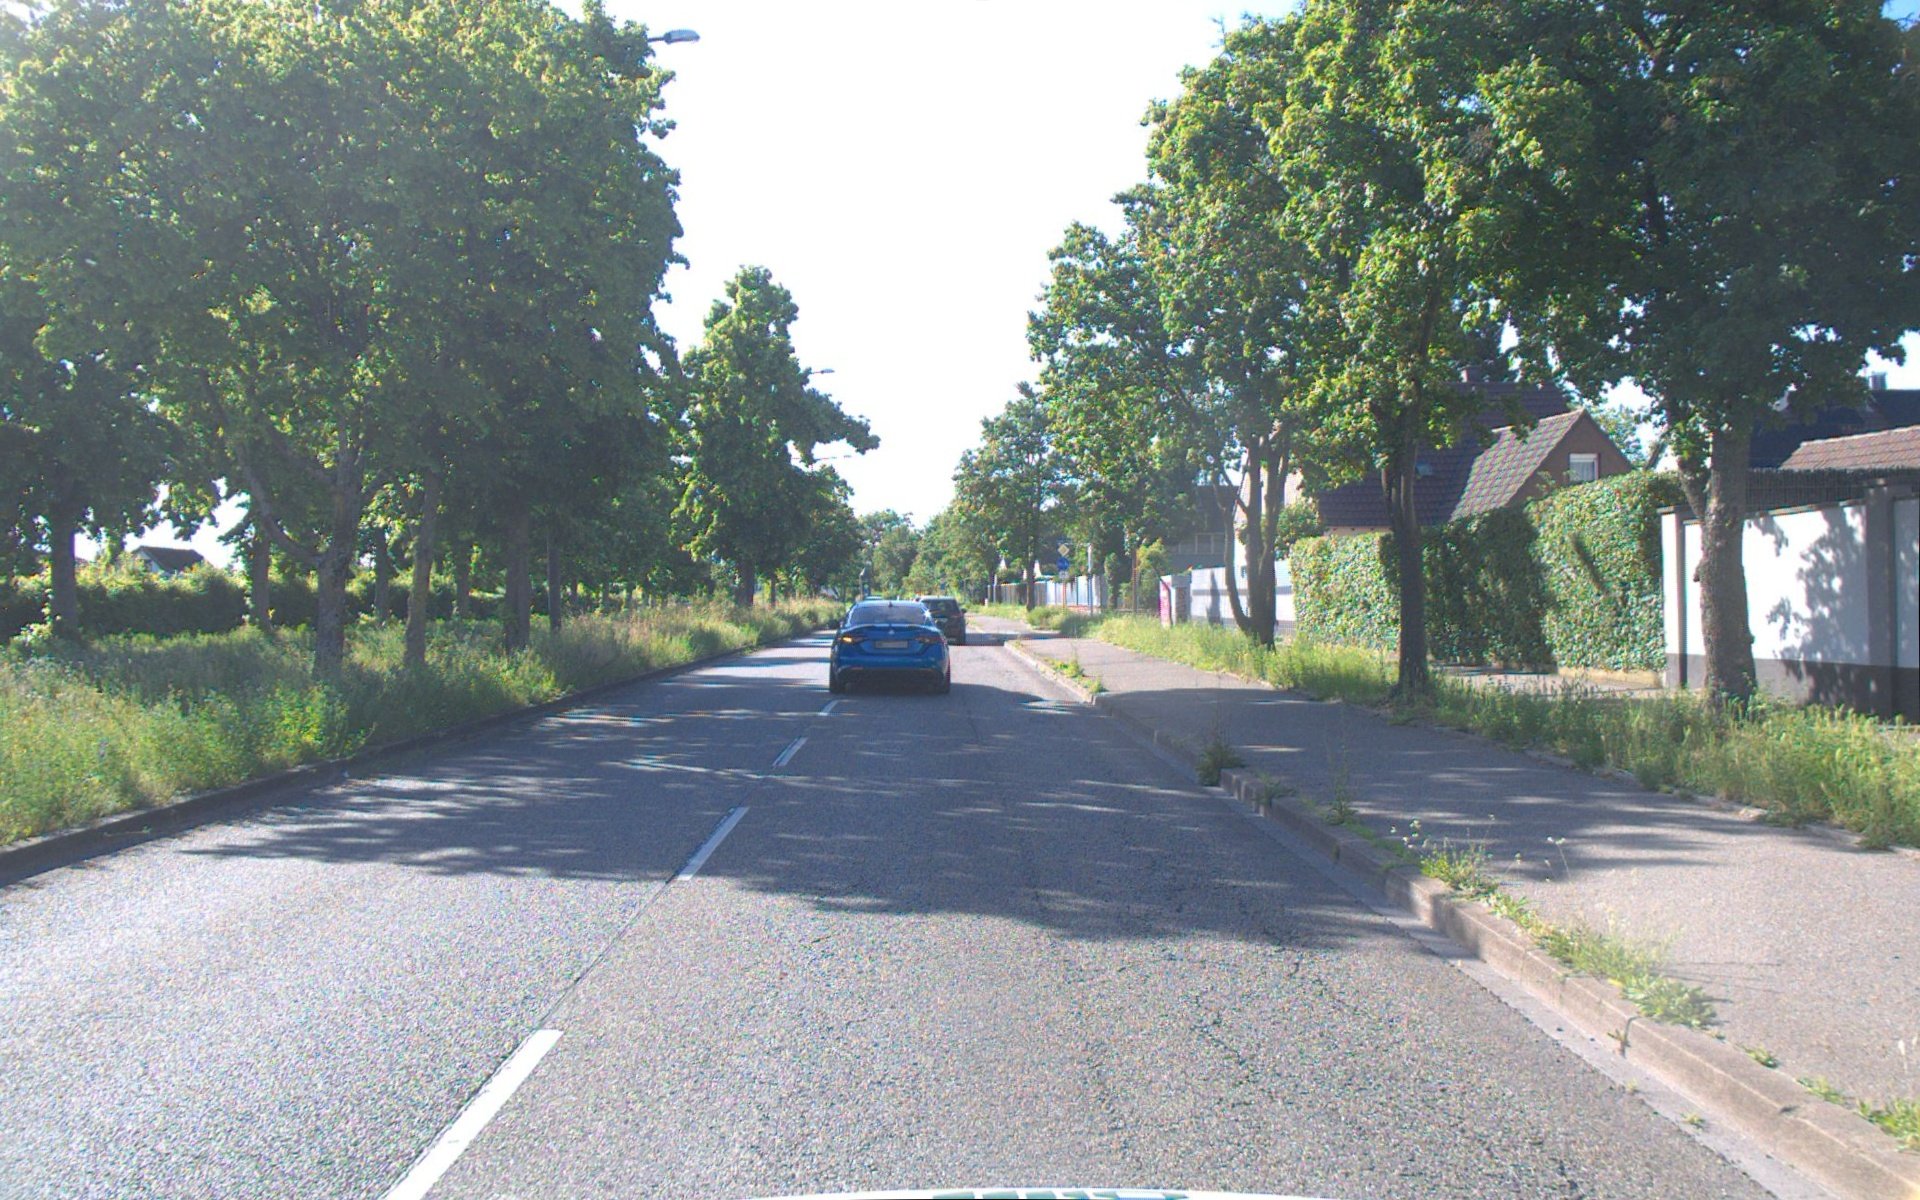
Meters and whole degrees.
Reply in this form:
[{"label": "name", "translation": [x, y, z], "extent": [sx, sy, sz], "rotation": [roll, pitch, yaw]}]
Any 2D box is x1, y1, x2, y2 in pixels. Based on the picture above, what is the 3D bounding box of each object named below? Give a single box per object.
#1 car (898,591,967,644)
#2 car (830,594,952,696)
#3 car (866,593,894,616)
[{"label": "car", "translation": [-0.925, 0.524, 52.729], "extent": [1.878, 1.607, 4.177], "rotation": [-1, 0, -5]}, {"label": "car", "translation": [-1.034, 0.692, 26.682], "extent": [1.801, 1.500, 4.183], "rotation": [0, -1, 0]}, {"label": "car", "translation": [-5.480, 0.300, 113.017], "extent": [1.877, 1.538, 4.065], "rotation": [-1, 0, -3]}]
